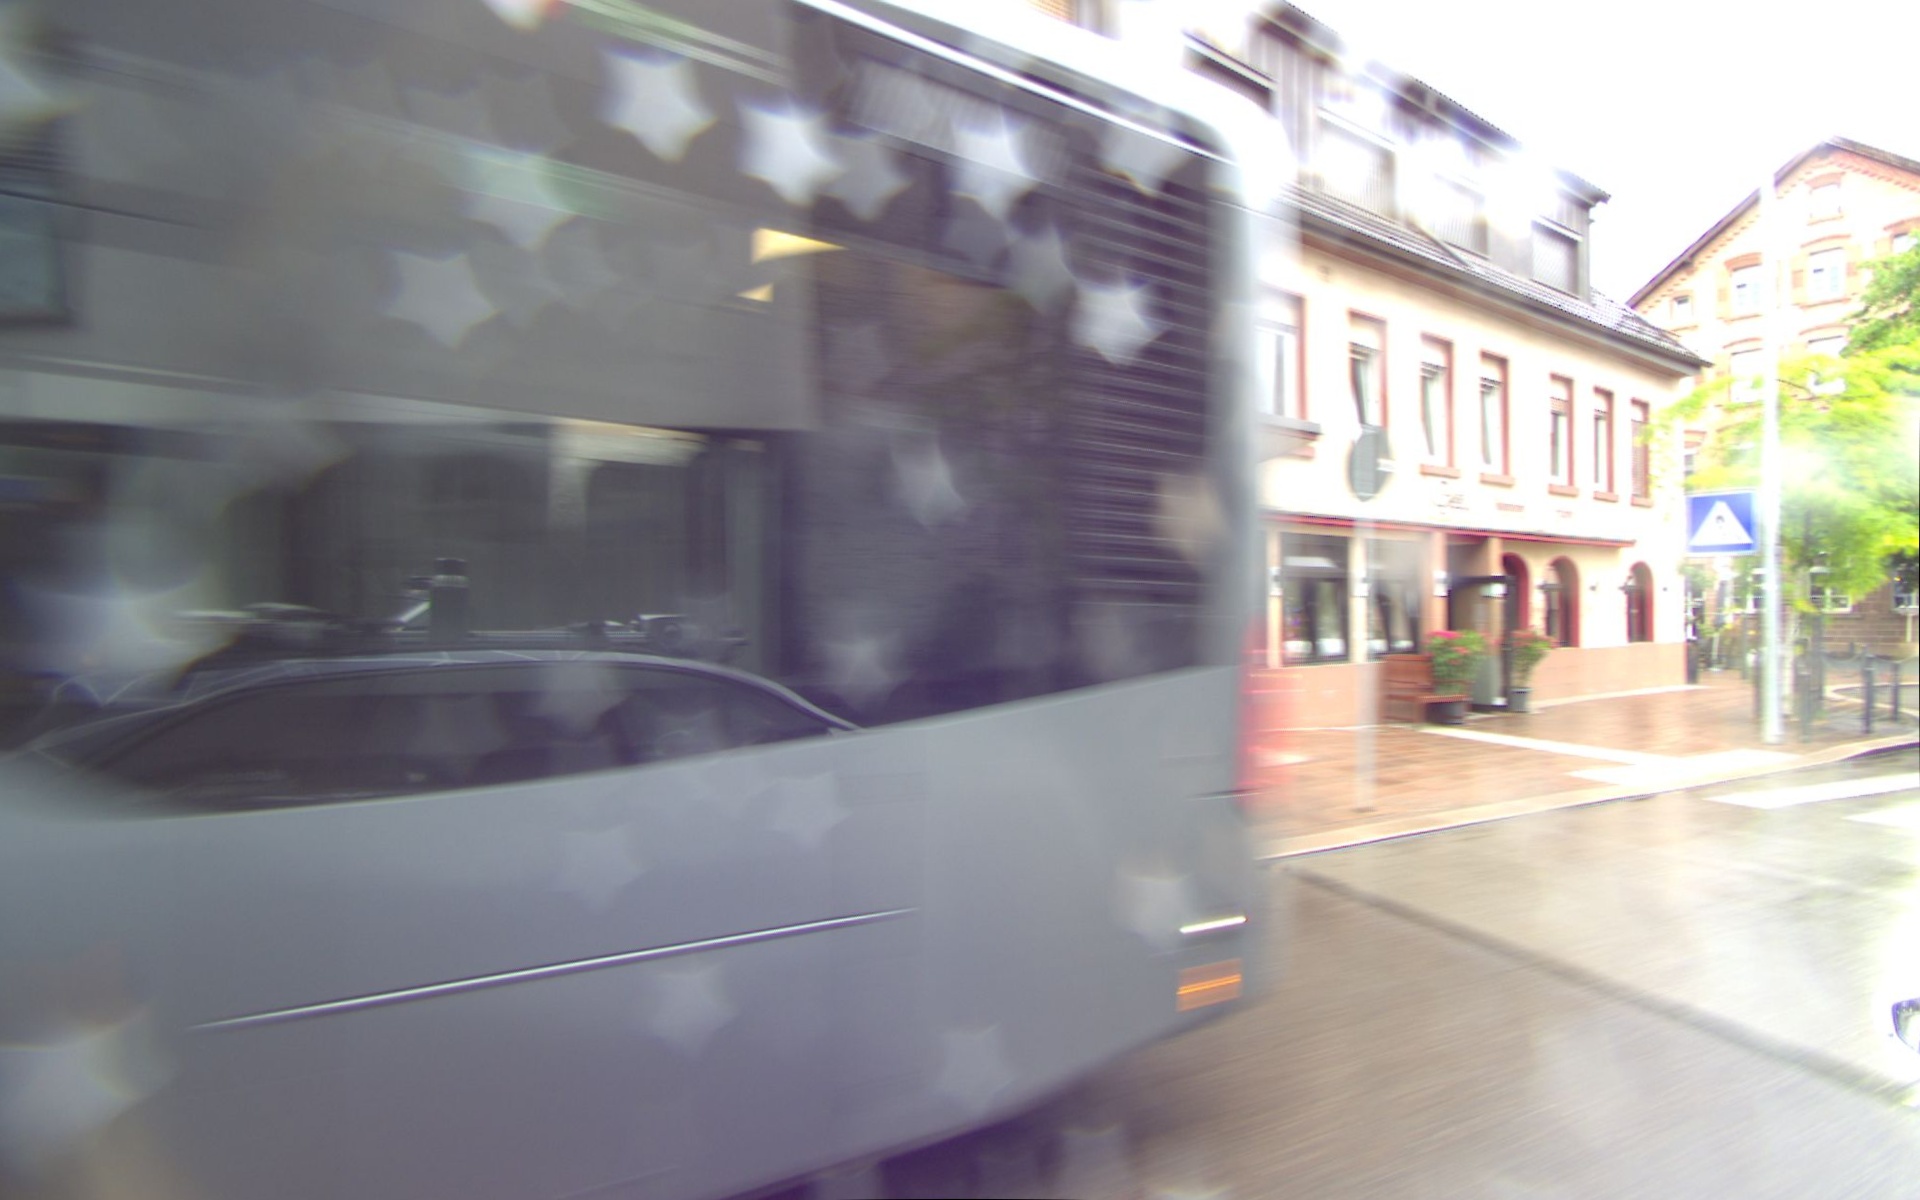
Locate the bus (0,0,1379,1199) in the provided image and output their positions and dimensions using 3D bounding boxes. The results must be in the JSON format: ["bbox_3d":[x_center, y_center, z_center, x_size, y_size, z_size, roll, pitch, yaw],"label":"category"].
[{"bbox_3d":[-4.106,-0.102,1.041,10.826,3.121,2.708,1,-1,-33],"label":"bus"}]

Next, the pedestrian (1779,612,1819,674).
[{"bbox_3d":[26.754,1.351,32.026,0.819,1.911,0.832,2,0,-42],"label":"pedestrian"}]
